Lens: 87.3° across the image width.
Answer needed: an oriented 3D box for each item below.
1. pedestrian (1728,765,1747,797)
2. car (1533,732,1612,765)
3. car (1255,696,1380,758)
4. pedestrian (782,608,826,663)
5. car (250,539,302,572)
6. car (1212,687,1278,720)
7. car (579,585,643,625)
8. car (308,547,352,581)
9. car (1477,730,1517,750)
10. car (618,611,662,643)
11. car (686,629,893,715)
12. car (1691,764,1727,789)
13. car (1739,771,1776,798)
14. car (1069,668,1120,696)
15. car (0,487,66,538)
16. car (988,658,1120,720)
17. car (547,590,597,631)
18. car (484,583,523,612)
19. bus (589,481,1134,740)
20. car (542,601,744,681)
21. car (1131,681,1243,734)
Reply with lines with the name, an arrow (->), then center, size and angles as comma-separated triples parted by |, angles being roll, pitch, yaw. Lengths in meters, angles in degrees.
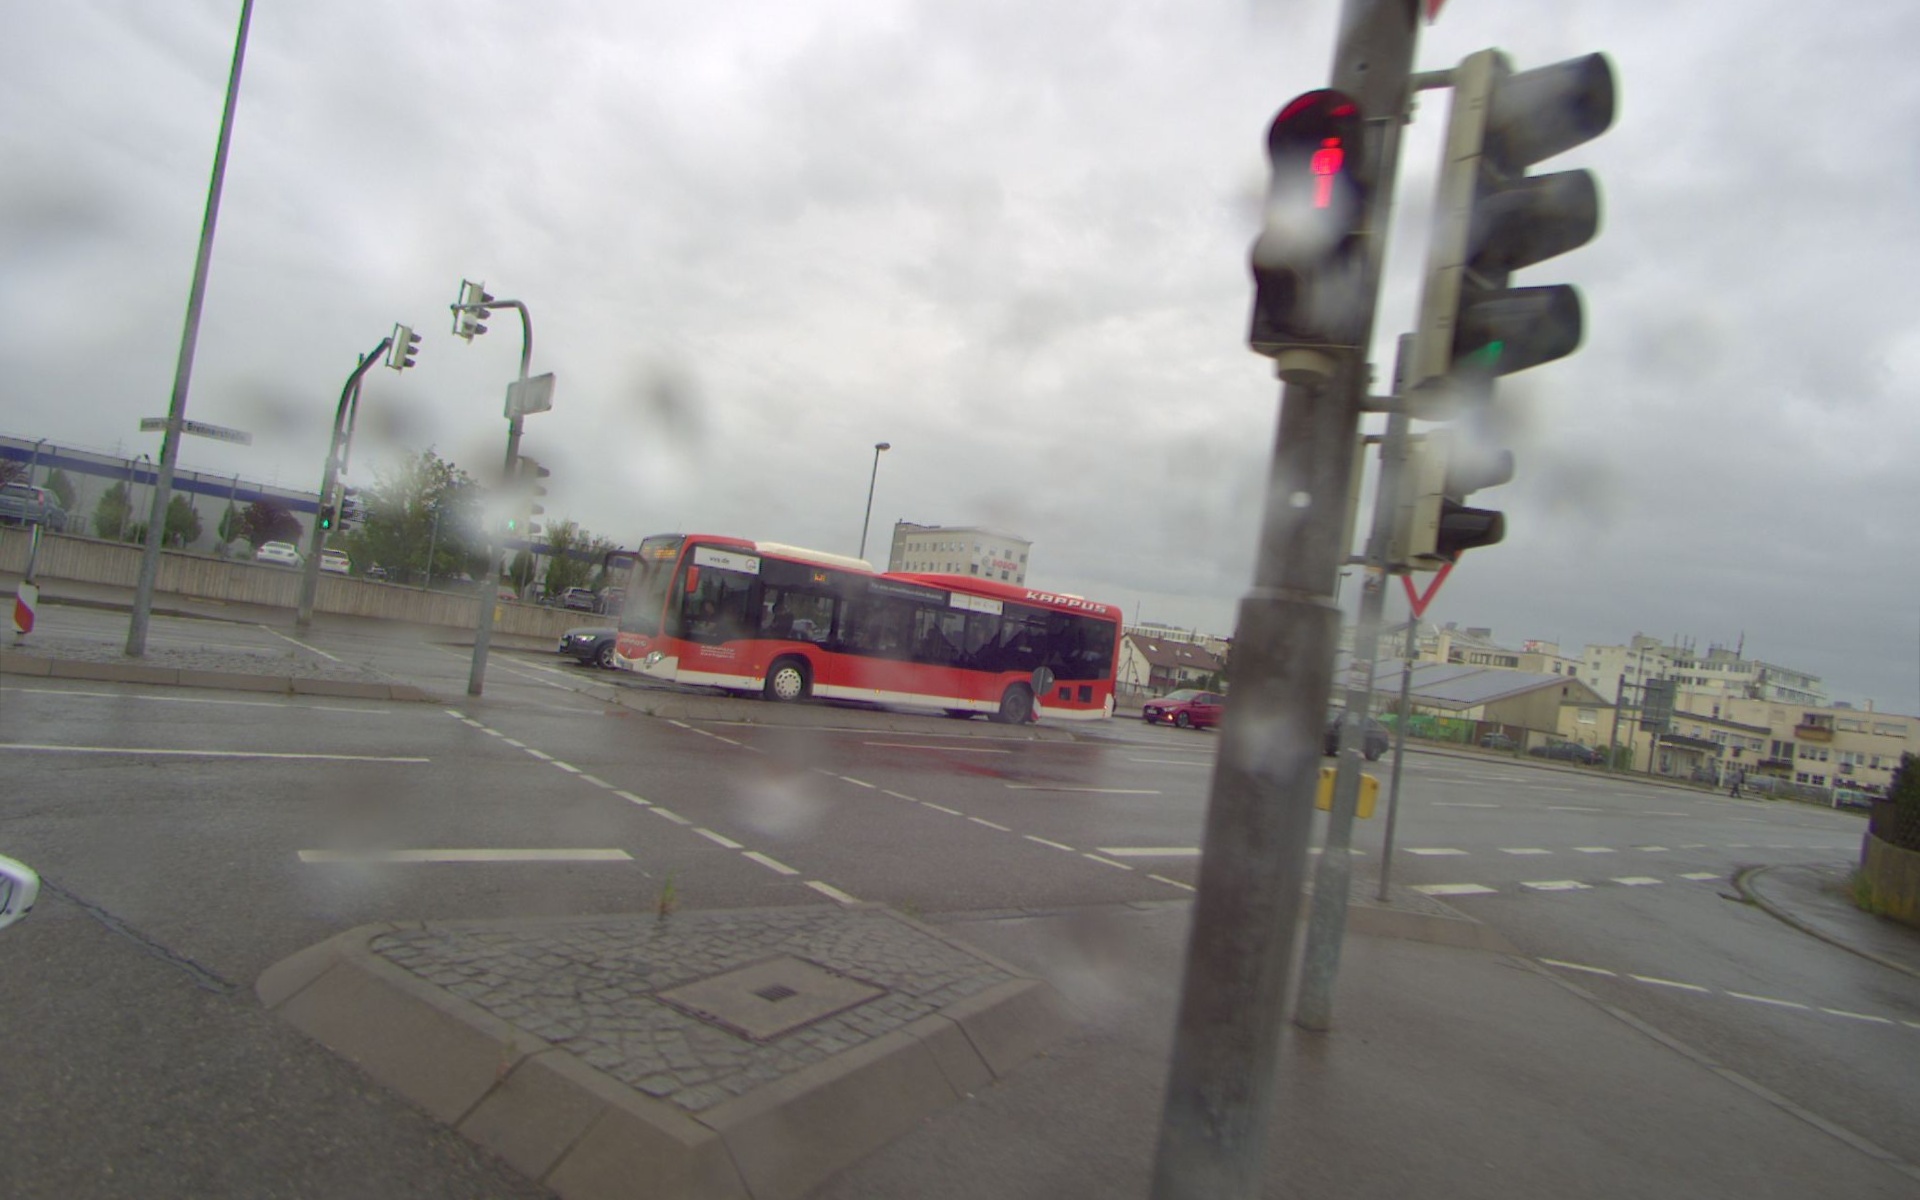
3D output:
pedestrian -> 44.429, 10.330, 57.481 | 0.689, 1.684, 0.674 | 6, -2, 42
car -> 41.028, 9.918, 67.415 | 1.979, 1.469, 3.973 | 9, -3, -28
car -> 11.408, 4.066, 32.015 | 3.970, 1.514, 1.834 | 9, -3, -38
pedestrian -> -5.163, 1.172, 33.230 | 0.868, 1.630, 0.859 | 8, 2, -42
car -> -37.276, -2.370, 54.896 | 1.803, 1.450, 4.076 | 8, -3, -29
car -> 18.594, 6.729, 65.794 | 1.974, 1.560, 3.982 | 9, -3, -22
car -> -17.311, 0.219, 49.807 | 1.697, 1.577, 4.150 | 8, -3, -36
car -> -35.408, -2.005, 56.572 | 1.846, 1.543, 4.071 | 8, -3, -32
car -> 51.514, 13.464, 96.515 | 3.612, 1.436, 1.722 | 10, -3, -33
car -> -24.279, 2.006, 76.186 | 1.981, 2.036, 3.966 | 8, -3, -33
car -> -4.086, 1.788, 24.602 | 4.561, 1.484, 1.882 | 10, -3, -39
car -> 63.155, 14.880, 84.822 | 1.973, 1.747, 3.984 | 6, -3, 43
car -> 64.985, 15.024, 81.992 | 1.973, 1.747, 3.984 | 6, -3, 43
car -> 10.581, 6.468, 79.385 | 1.978, 1.636, 3.974 | 9, -3, -27
car -> -35.547, -3.324, 38.213 | 1.733, 1.571, 3.500 | 8, -3, -34
car -> 3.235, 3.057, 34.260 | 4.363, 1.555, 1.806 | 10, -3, -39
car -> -22.730, 0.594, 58.797 | 1.732, 2.036, 3.790 | 8, -3, -34
car -> -32.196, -0.195, 70.876 | 1.910, 1.607, 3.759 | 9, -3, -32
bus -> -1.460, 0.647, 22.470 | 12.211, 3.613, 2.956 | 12, -5, -39
car -> -7.848, 1.059, 25.156 | 4.363, 1.369, 1.806 | 10, -3, -39
car -> 8.619, 4.074, 38.161 | 3.944, 1.525, 1.855 | 9, -3, -34
